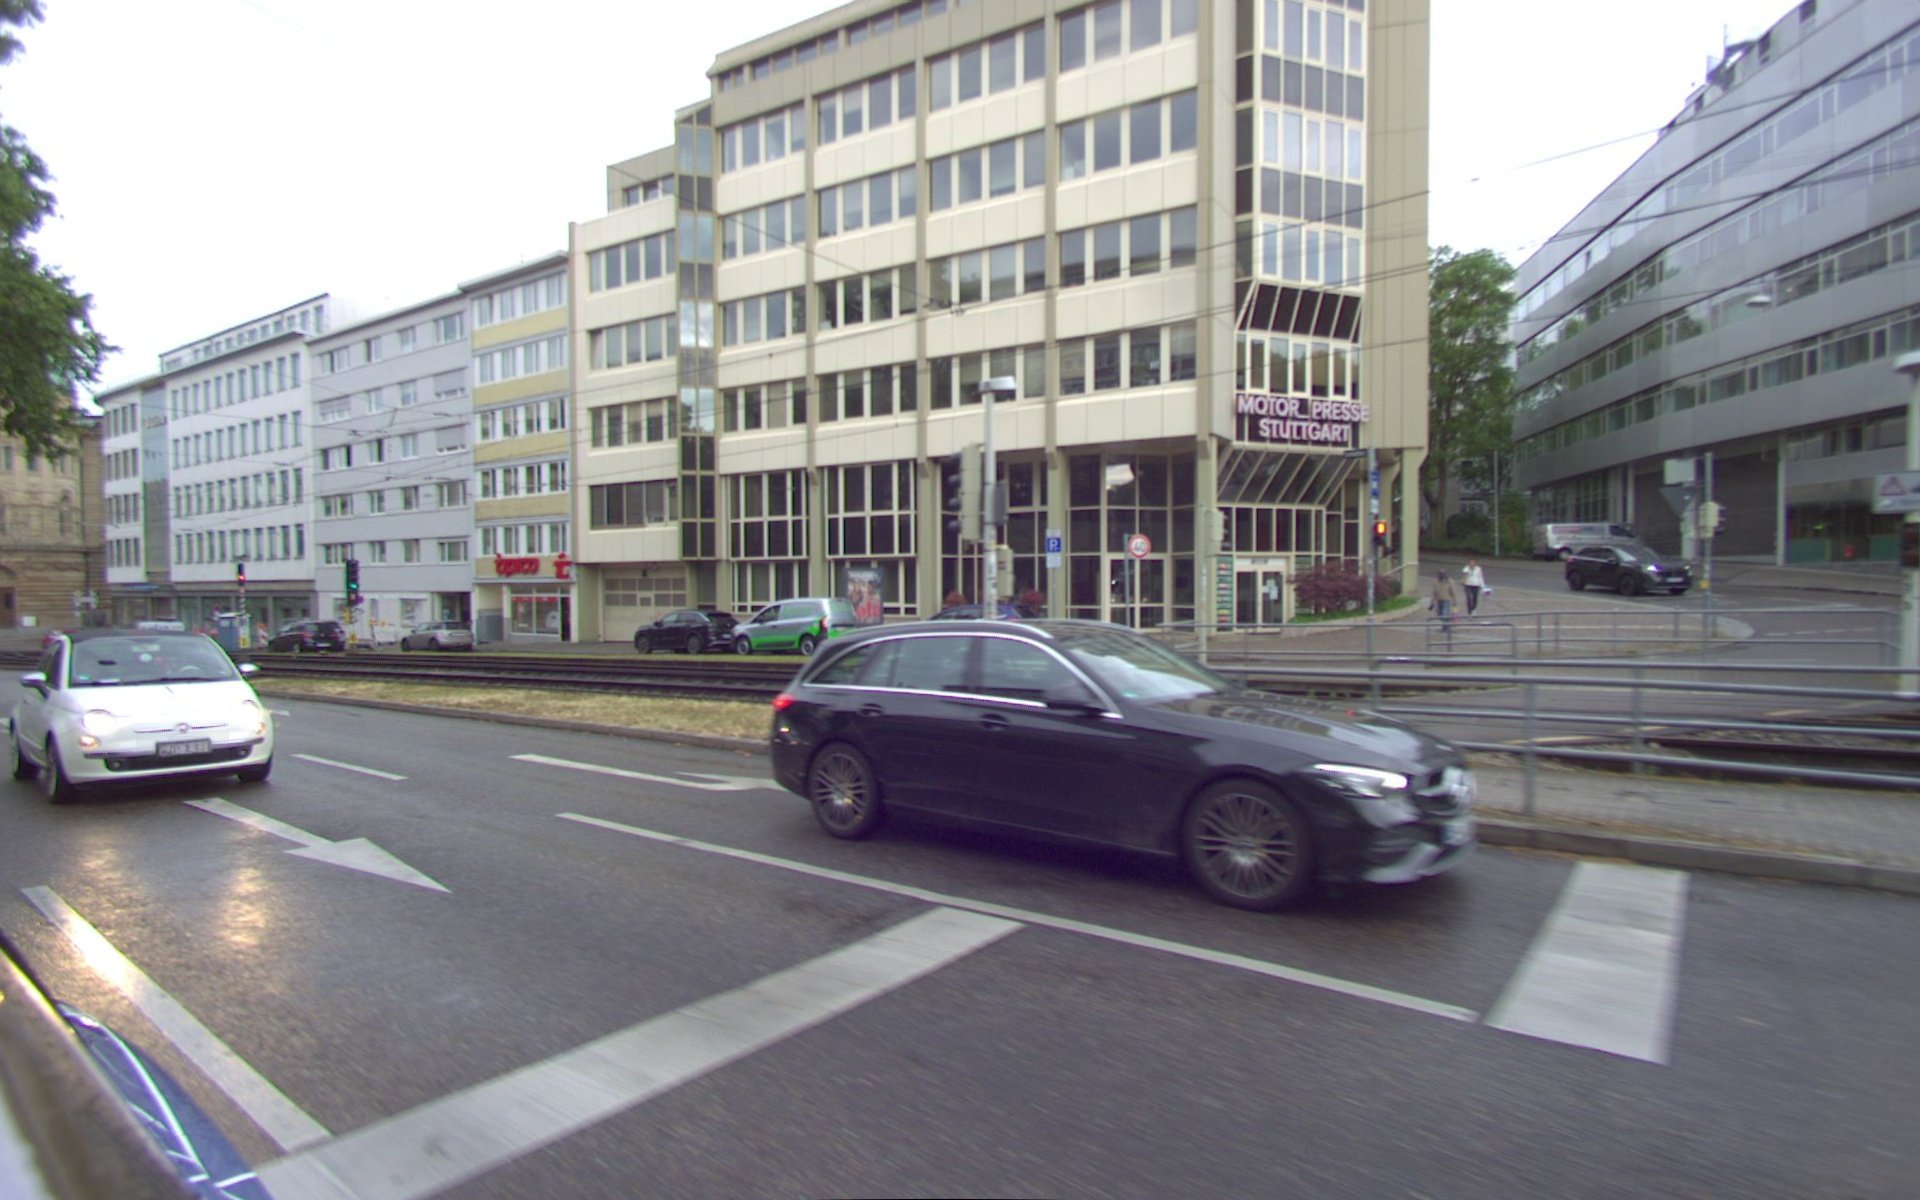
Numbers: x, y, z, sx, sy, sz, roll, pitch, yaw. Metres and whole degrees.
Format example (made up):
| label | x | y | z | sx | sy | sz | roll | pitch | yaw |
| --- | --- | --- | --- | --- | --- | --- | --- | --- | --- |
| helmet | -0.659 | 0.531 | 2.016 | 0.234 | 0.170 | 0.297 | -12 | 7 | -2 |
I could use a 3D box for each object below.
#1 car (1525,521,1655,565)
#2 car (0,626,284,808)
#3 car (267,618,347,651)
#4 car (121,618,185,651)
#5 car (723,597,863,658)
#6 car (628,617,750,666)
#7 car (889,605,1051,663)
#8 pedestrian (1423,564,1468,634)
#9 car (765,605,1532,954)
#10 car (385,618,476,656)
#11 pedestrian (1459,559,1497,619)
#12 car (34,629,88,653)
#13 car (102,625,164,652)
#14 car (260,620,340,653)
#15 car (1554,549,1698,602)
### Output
| label | x | y | z | sx | sy | sz | roll | pitch | yaw |
| --- | --- | --- | --- | --- | --- | --- | --- | --- | --- |
| car | 32.989 | -2.939 | 53.133 | 5.356 | 2.029 | 1.993 | -1 | -2 | 12 |
| car | -8.091 | 0.994 | 9.875 | 3.438 | 1.445 | 1.633 | -2 | -2 | 41 |
| car | -32.980 | 1.720 | 51.097 | 4.066 | 1.525 | 1.869 | -1 | 1 | 33 |
| car | -51.257 | 2.199 | 64.280 | 4.465 | 1.950 | 1.869 | -1 | 1 | 33 |
| car | -5.285 | 0.843 | 31.850 | 4.203 | 1.759 | 1.782 | -1 | 1 | 32 |
| car | -9.326 | 1.387 | 34.726 | 4.066 | 1.525 | 1.781 | -1 | 1 | 33 |
| car | 0.225 | 0.919 | 27.858 | 4.207 | 1.488 | 1.780 | -1 | -2 | 35 |
| pedestrian | 12.800 | -0.035 | 26.680 | 0.749 | 1.800 | 0.832 | -3 | 2 | -42 |
| car | 0.880 | 0.807 | 6.377 | 4.473 | 1.453 | 1.777 | -2 | -2 | 41 |
| car | -23.358 | 1.603 | 44.631 | 4.066 | 1.525 | 1.781 | -1 | 1 | 33 |
| pedestrian | 14.605 | -0.318 | 28.547 | 0.711 | 1.651 | 0.759 | -1 | 1 | 6 |
| car | -66.941 | 3.053 | 75.331 | 4.465 | 1.636 | 1.869 | -1 | 1 | 33 |
| car | -46.160 | 2.149 | 56.480 | 3.861 | 1.367 | 1.614 | -2 | 0 | 34 |
| car | -29.688 | 1.656 | 45.492 | 3.861 | 1.367 | 1.614 | -2 | 0 | 34 |
| car | 22.928 | -0.912 | 35.120 | 1.974 | 1.592 | 4.884 | -2 | 3 | 3 |
